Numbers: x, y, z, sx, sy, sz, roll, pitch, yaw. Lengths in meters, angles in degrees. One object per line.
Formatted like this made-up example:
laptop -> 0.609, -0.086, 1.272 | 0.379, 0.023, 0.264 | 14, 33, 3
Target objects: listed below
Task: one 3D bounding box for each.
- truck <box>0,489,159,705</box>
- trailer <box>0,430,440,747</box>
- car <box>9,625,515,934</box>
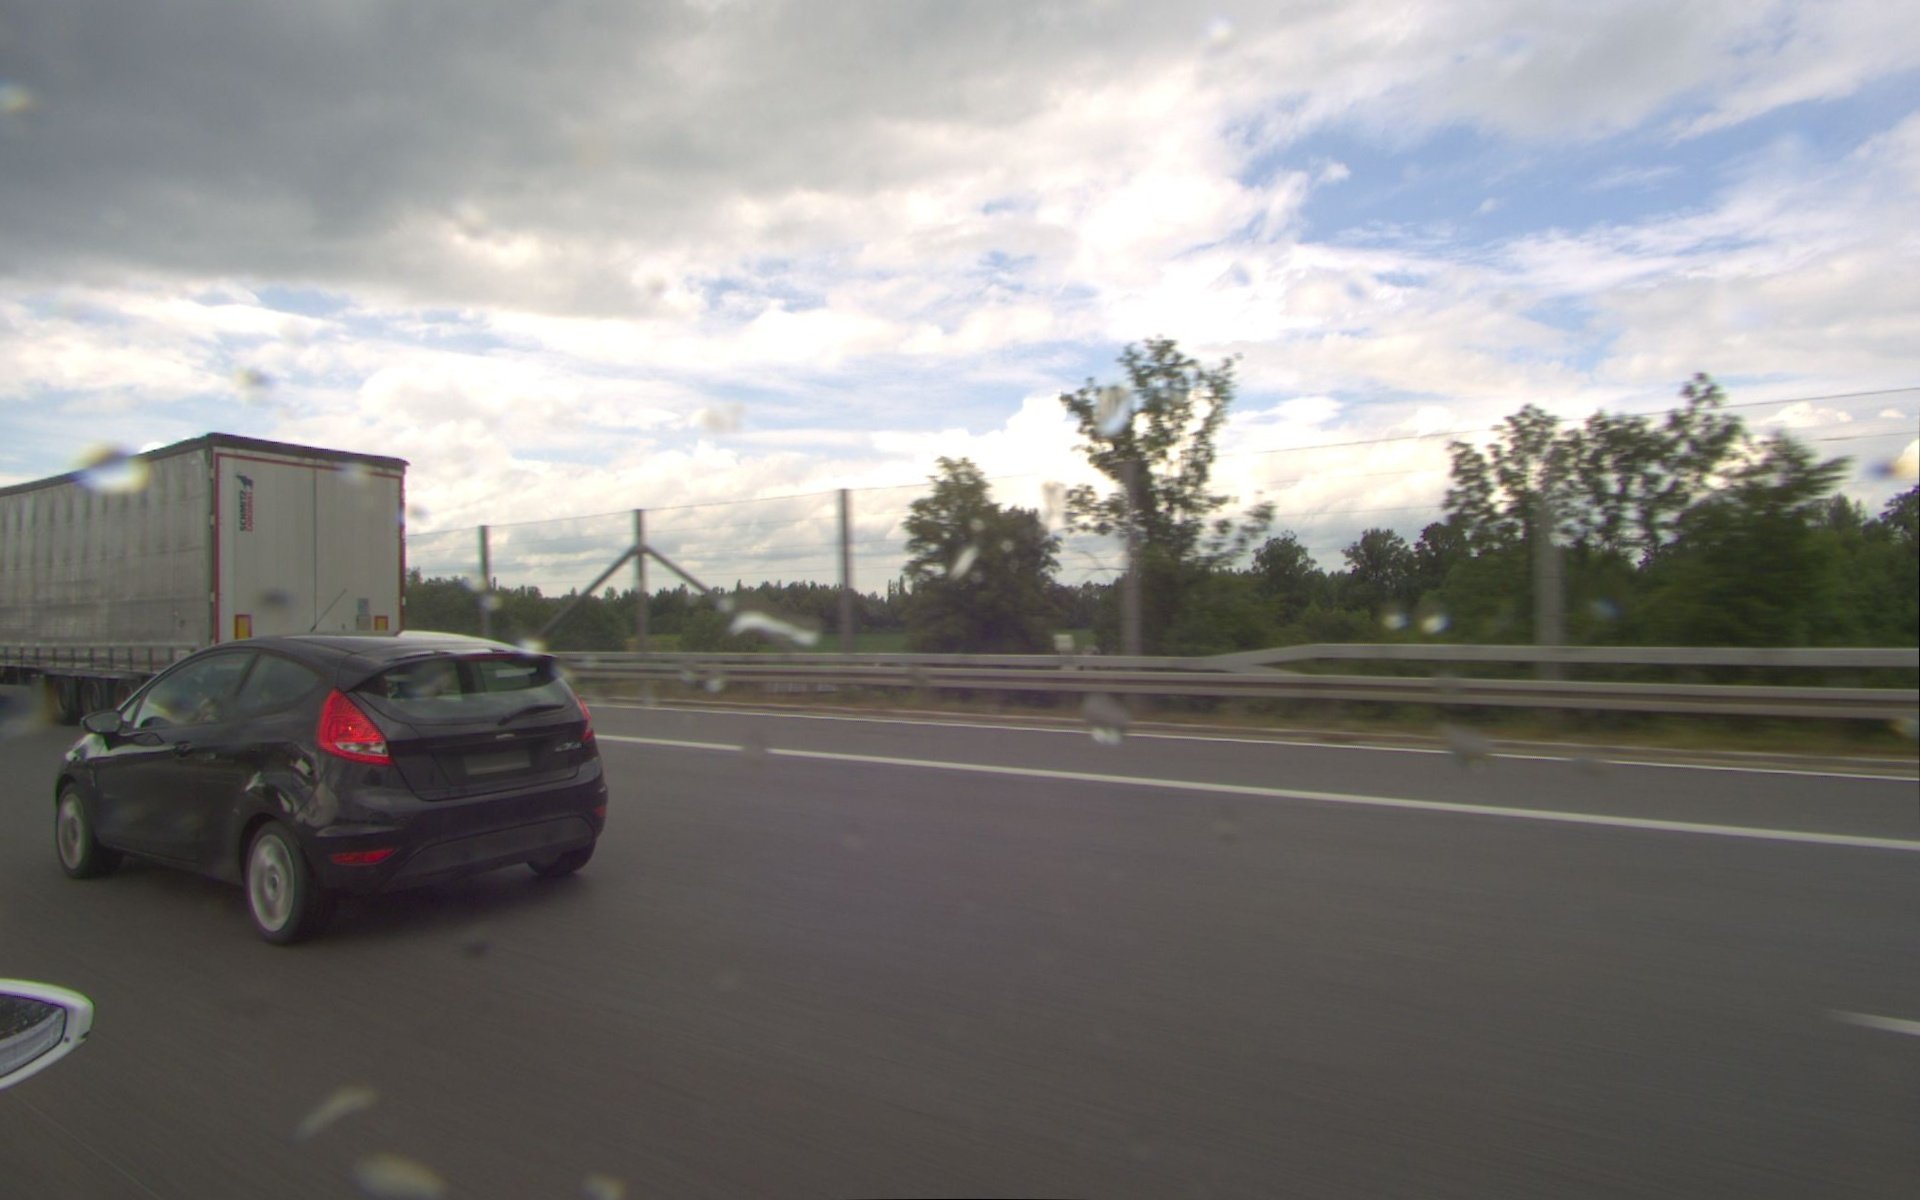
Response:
truck -> -20.303, -0.009, 21.481 | 6.494, 4.072, 2.956 | 0, -1, 32
trailer -> -14.636, -0.064, 17.871 | 13.916, 4.072, 2.956 | 0, -1, 33
car -> -4.364, 0.888, 6.194 | 3.117, 1.460, 1.445 | -1, -1, 31
